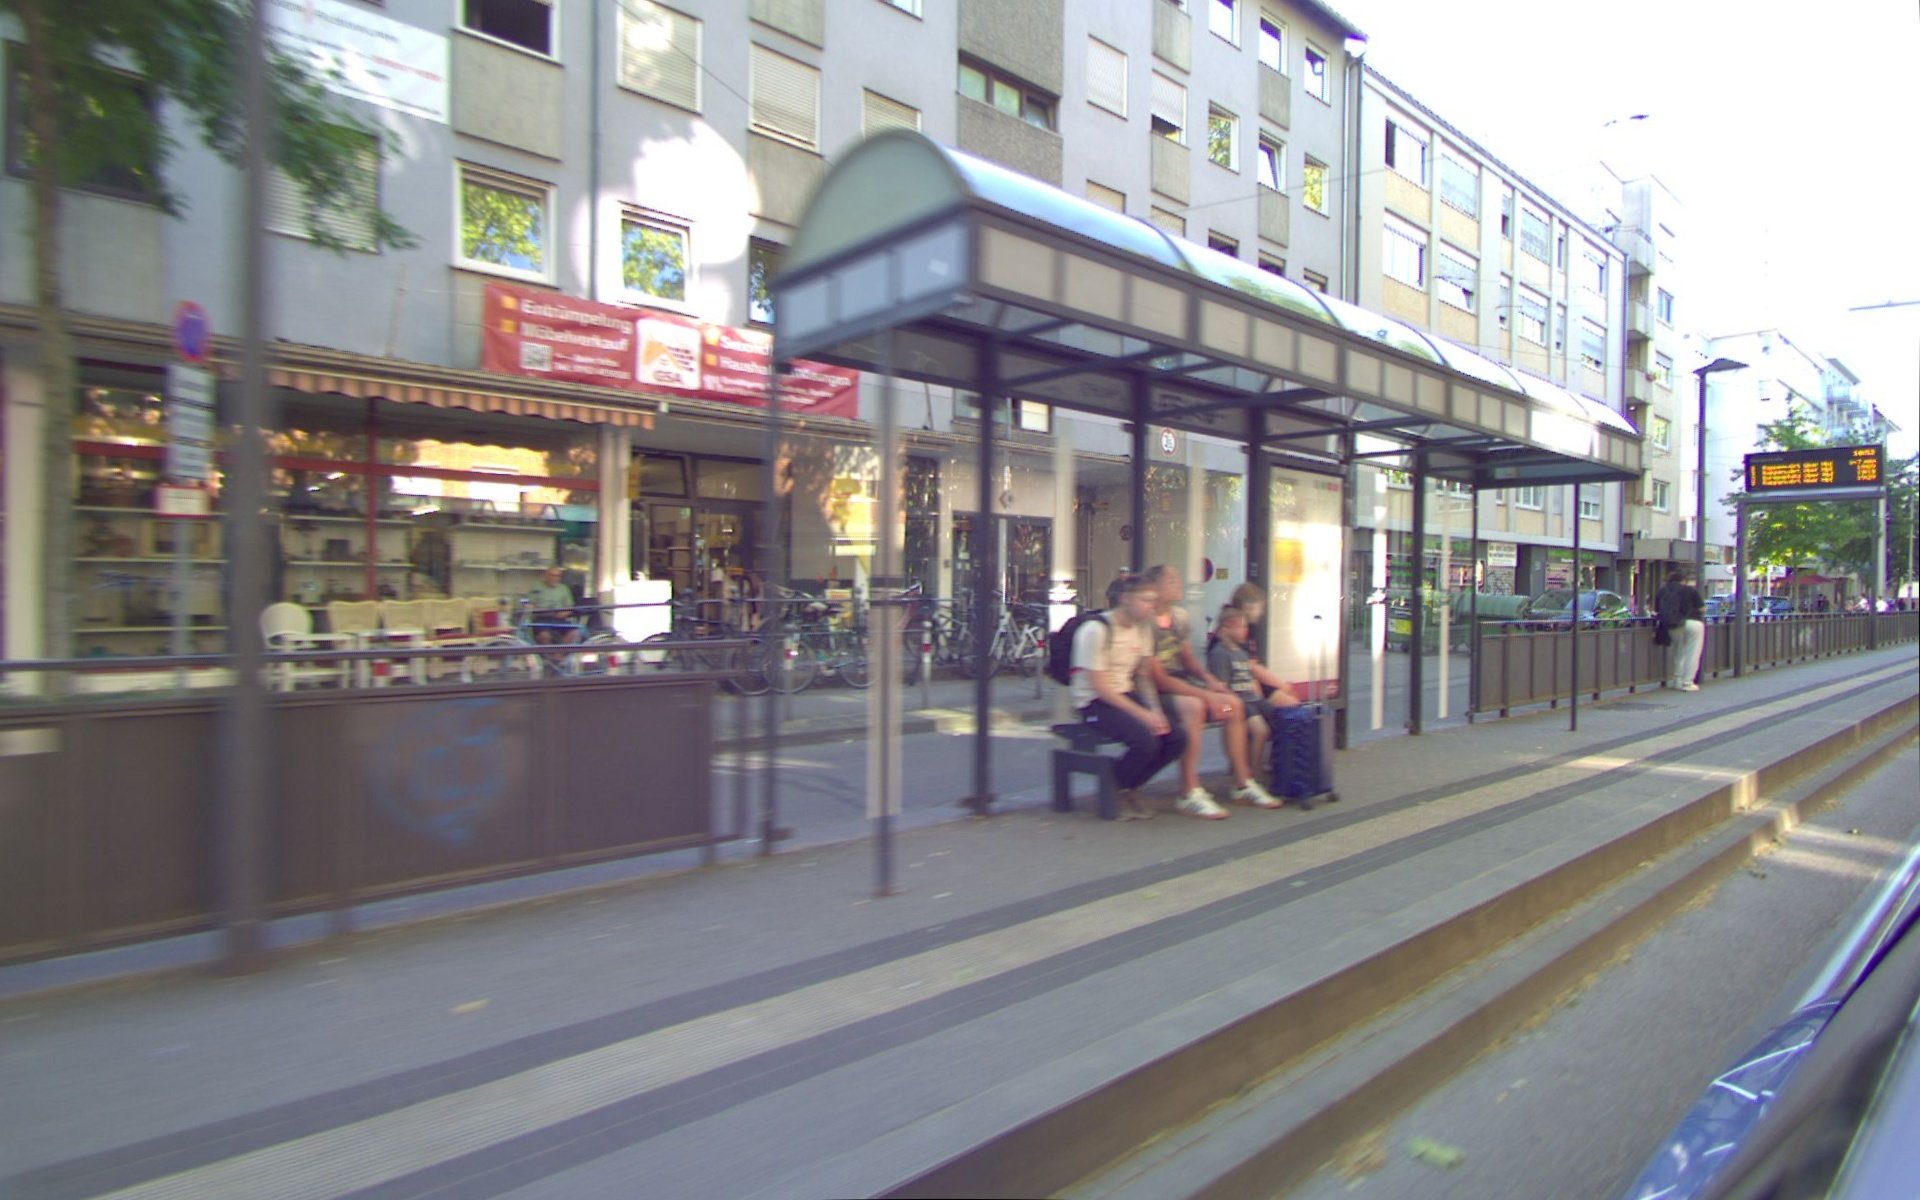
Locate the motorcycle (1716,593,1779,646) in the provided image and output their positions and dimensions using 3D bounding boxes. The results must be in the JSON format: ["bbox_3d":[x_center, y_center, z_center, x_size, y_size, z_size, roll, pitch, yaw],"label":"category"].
[{"bbox_3d":[22.951,0.550,29.478,2.170,1.473,1.054,0,0,-41],"label":"motorcycle"}]

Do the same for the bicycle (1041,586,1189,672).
[{"bbox_3d":[2.492,0.438,15.954,0.772,1.194,2.738,8,5,44],"label":"bicycle"}]

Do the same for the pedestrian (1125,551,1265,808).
[{"bbox_3d":[1.304,0.409,5.614,0.583,1.322,0.519,-1,-1,39],"label":"pedestrian"}]

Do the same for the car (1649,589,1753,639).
[{"bbox_3d":[24.043,0.400,32.798,3.930,1.505,1.897,-1,0,-41],"label":"car"}]

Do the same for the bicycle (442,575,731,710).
[{"bbox_3d":[-3.796,0.371,10.545,0.772,1.194,2.738,6,5,45],"label":"bicycle"}]

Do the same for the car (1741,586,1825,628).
[{"bbox_3d":[33.346,0.241,40.972,3.930,1.612,1.997,-1,0,-41],"label":"car"}]

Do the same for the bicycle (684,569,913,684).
[{"bbox_3d":[-1.881,0.303,12.262,0.772,1.194,2.738,8,5,44],"label":"bicycle"}]

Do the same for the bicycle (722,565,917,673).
[{"bbox_3d":[-1.730,0.204,13.075,0.769,1.194,2.749,7,4,34],"label":"bicycle"}]

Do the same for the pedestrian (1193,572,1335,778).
[{"bbox_3d":[1.939,0.442,6.453,0.677,1.220,0.640,0,0,39],"label":"pedestrian"}]

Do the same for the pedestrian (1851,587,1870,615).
[{"bbox_3d":[54.018,0.046,60.715,0.954,1.675,0.751,0,0,-42],"label":"pedestrian"}]

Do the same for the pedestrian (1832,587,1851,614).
[{"bbox_3d":[55.453,0.016,63.664,0.954,1.675,0.751,0,0,-42],"label":"pedestrian"}]

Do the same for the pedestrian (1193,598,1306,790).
[{"bbox_3d":[1.710,0.525,5.978,0.519,1.069,0.420,0,0,39],"label":"pedestrian"}]

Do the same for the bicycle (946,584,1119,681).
[{"bbox_3d":[1.093,0.436,14.424,0.772,1.194,2.738,8,5,44],"label":"bicycle"}]

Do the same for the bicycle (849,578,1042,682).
[{"bbox_3d":[-0.133,0.381,13.484,0.772,1.194,2.738,8,5,44],"label":"bicycle"}]

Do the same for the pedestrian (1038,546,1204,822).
[{"bbox_3d":[0.847,0.406,5.334,0.717,1.343,0.486,0,0,39],"label":"pedestrian"}]

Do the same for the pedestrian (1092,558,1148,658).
[{"bbox_3d":[3.003,0.144,19.059,0.667,1.827,0.773,-1,1,-34],"label":"pedestrian"}]

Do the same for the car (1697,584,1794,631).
[{"bbox_3d":[28.189,0.245,36.281,3.930,1.601,1.997,-1,0,-41],"label":"car"}]

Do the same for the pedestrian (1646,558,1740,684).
[{"bbox_3d":[9.644,0.264,13.318,0.836,1.596,0.650,0,0,-23],"label":"pedestrian"}]

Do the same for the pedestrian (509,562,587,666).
[{"bbox_3d":[-5.040,0.158,12.373,0.677,1.220,0.640,0,0,39],"label":"pedestrian"}]

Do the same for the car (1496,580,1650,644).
[{"bbox_3d":[15.861,0.273,26.111,4.576,1.502,1.958,-1,0,-39],"label":"car"}]

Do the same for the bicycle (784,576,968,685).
[{"bbox_3d":[-1.002,0.330,13.062,0.768,1.194,2.750,7,4,33],"label":"bicycle"}]

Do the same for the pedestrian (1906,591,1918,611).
[{"bbox_3d":[79.545,0.062,84.573,0.822,1.675,0.684,0,0,-42],"label":"pedestrian"}]

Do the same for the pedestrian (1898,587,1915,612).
[{"bbox_3d":[61.765,-0.035,66.055,0.954,1.675,0.751,0,0,-42],"label":"pedestrian"}]
